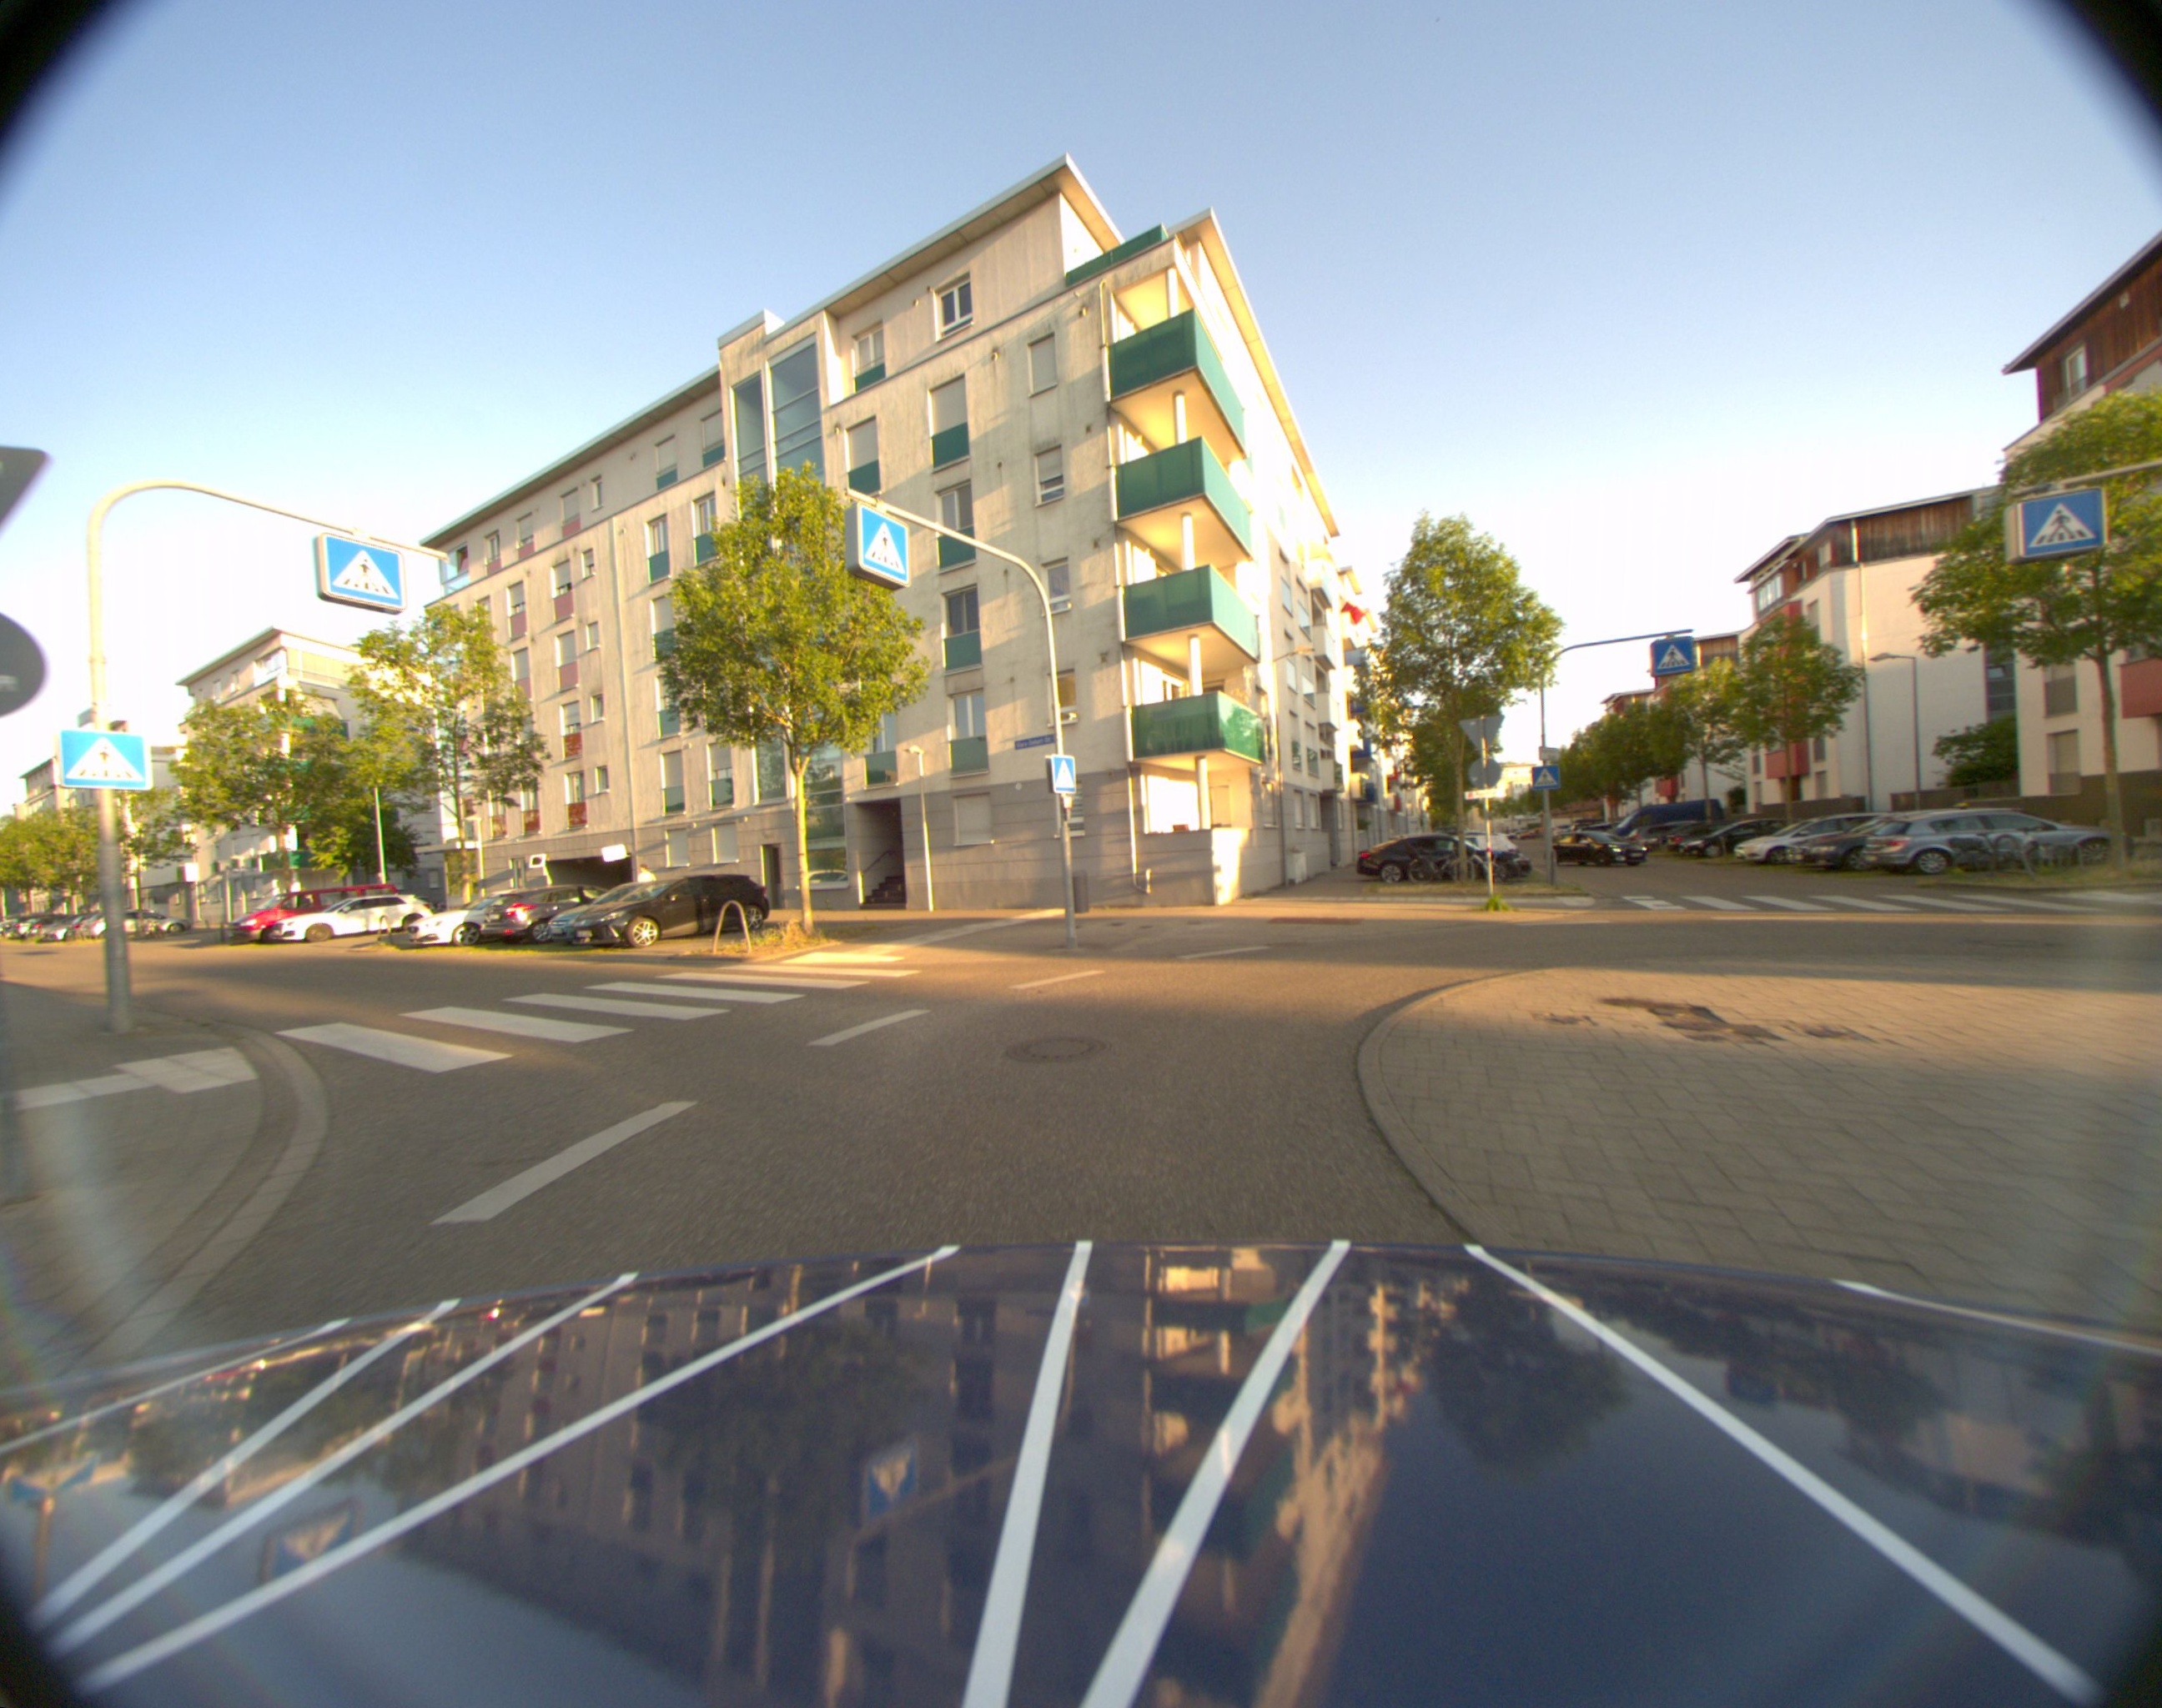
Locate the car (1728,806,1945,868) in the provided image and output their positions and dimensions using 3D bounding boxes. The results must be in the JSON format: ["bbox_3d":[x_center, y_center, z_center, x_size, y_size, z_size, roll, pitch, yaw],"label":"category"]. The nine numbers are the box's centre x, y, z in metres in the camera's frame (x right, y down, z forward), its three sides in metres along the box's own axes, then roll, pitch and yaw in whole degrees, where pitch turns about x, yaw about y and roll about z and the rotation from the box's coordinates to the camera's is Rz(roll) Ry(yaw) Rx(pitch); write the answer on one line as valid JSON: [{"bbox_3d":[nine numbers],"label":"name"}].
[{"bbox_3d":[24.923,-0.517,25.314,4.752,1.575,1.761,-5,-1,23],"label":"car"}]

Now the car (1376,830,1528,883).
[{"bbox_3d":[12.463,0.101,25.588,4.405,1.499,1.746,-4,0,30],"label":"car"}]

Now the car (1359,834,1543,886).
[{"bbox_3d":[11.196,0.166,23.183,4.877,1.449,1.941,0,1,29],"label":"car"}]

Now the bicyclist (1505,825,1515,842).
[{"bbox_3d":[42.166,-2.037,74.645,0.766,1.618,0.664,-3,0,25],"label":"bicyclist"}]

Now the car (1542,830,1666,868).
[{"bbox_3d":[21.346,-0.231,31.247,1.778,1.454,4.174,-1,1,-10],"label":"car"}]

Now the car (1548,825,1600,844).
[{"bbox_3d":[50.169,-1.980,77.390,4.243,1.776,1.695,0,1,26],"label":"car"}]

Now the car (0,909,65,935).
[{"bbox_3d":[-88.511,5.722,63.230,1.947,1.828,4.420,-3,0,26],"label":"car"}]

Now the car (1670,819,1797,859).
[{"bbox_3d":[29.092,-0.654,34.047,3.912,1.506,1.726,-4,0,23],"label":"car"}]

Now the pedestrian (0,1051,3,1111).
[{"bbox_3d":[-8.857,1.139,5.733,0.800,1.719,0.769,-3,0,34],"label":"pedestrian"}]

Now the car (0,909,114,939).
[{"bbox_3d":[-71.044,4.830,52.788,1.947,1.583,4.420,-3,0,27],"label":"car"}]

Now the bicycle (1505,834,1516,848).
[{"bbox_3d":[42.201,-1.290,74.641,0.770,1.259,1.784,-3,0,26],"label":"bicycle"}]

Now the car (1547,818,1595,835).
[{"bbox_3d":[53.522,-2.951,83.090,4.243,1.776,1.695,0,1,28],"label":"car"}]

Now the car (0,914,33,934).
[{"bbox_3d":[-100.821,6.597,70.128,1.947,1.716,4.420,-3,0,26],"label":"car"}]

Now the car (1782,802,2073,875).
[{"bbox_3d":[22.536,-0.361,20.544,4.908,1.469,1.713,-5,-1,25],"label":"car"}]

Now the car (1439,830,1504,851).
[{"bbox_3d":[29.042,-0.973,56.619,4.243,1.528,1.695,0,1,28],"label":"car"}]

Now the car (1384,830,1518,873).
[{"bbox_3d":[13.560,-0.095,28.011,4.285,1.485,1.745,0,1,26],"label":"car"}]

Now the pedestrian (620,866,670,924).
[{"bbox_3d":[-14.614,1.367,25.458,1.047,1.883,0.981,-3,0,30],"label":"pedestrian"}]

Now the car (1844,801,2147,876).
[{"bbox_3d":[21.560,-0.324,18.186,4.284,1.449,1.683,-4,0,25],"label":"car"}]

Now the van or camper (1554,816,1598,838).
[{"bbox_3d":[59.685,-3.214,91.698,4.243,2.520,1.763,0,1,28],"label":"van or camper"}]

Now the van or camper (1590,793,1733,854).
[{"bbox_3d":[34.723,-1.751,45.715,6.304,3.069,2.446,-4,0,23],"label":"van or camper"}]

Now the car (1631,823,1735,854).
[{"bbox_3d":[32.483,-0.834,41.113,4.094,1.616,1.726,0,1,23],"label":"car"}]

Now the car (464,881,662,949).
[{"bbox_3d":[-13.909,1.590,20.669,1.697,1.471,4.063,-3,0,28],"label":"car"}]

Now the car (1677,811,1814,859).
[{"bbox_3d":[27.789,-0.784,31.942,3.912,1.700,1.726,-4,0,23],"label":"car"}]

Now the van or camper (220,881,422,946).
[{"bbox_3d":[-29.221,2.226,29.474,1.873,2.048,5.141,-3,0,28],"label":"van or camper"}]

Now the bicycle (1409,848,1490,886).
[{"bbox_3d":[10.376,0.373,21.478,2.030,1.040,0.474,0,1,23],"label":"bicycle"}]

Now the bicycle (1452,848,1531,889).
[{"bbox_3d":[11.077,0.380,20.559,1.836,1.066,0.474,0,1,23],"label":"bicycle"}]

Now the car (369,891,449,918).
[{"bbox_3d":[-42.800,3.222,48.468,3.525,1.459,1.613,-3,0,-3],"label":"car"}]

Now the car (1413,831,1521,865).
[{"bbox_3d":[17.401,-0.274,34.503,4.286,1.499,1.688,0,1,24],"label":"car"}]

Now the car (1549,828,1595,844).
[{"bbox_3d":[56.539,-2.024,87.553,4.243,1.776,1.695,0,1,28],"label":"car"}]

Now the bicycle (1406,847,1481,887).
[{"bbox_3d":[9.729,0.338,20.468,1.789,1.036,0.568,0,1,23],"label":"bicycle"}]

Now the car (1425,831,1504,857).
[{"bbox_3d":[22.722,-0.605,45.144,4.094,1.500,1.668,0,1,23],"label":"car"}]

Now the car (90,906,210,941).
[{"bbox_3d":[-53.159,3.965,43.467,1.774,1.583,3.963,-3,0,27],"label":"car"}]

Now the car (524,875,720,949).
[{"bbox_3d":[-11.753,1.449,19.759,1.556,1.366,4.011,-4,2,28],"label":"car"}]

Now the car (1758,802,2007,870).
[{"bbox_3d":[23.709,-0.487,22.773,4.777,1.545,1.714,-5,-1,31],"label":"car"}]

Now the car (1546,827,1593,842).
[{"bbox_3d":[54.881,-2.209,85.458,4.243,1.629,1.695,0,1,28],"label":"car"}]

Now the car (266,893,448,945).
[{"bbox_3d":[-26.539,2.340,28.046,1.697,1.512,4.475,-3,0,28],"label":"car"}]

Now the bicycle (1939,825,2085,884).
[{"bbox_3d":[19.629,0.021,16.069,1.819,1.060,0.568,-6,-1,24],"label":"bicycle"}]

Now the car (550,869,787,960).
[{"bbox_3d":[-9.396,1.321,17.770,1.829,1.479,4.487,-3,2,28],"label":"car"}]

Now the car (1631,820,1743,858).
[{"bbox_3d":[30.741,-0.747,38.684,4.095,1.616,1.726,-4,0,23],"label":"car"}]

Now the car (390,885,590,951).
[{"bbox_3d":[-16.528,1.739,21.482,1.697,1.471,4.063,-3,0,28],"label":"car"}]

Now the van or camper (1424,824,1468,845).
[{"bbox_3d":[39.513,-2.118,82.275,4.243,2.198,1.695,0,1,26],"label":"van or camper"}]

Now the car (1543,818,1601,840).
[{"bbox_3d":[44.517,-2.215,68.950,4.243,1.920,1.695,0,1,26],"label":"car"}]
